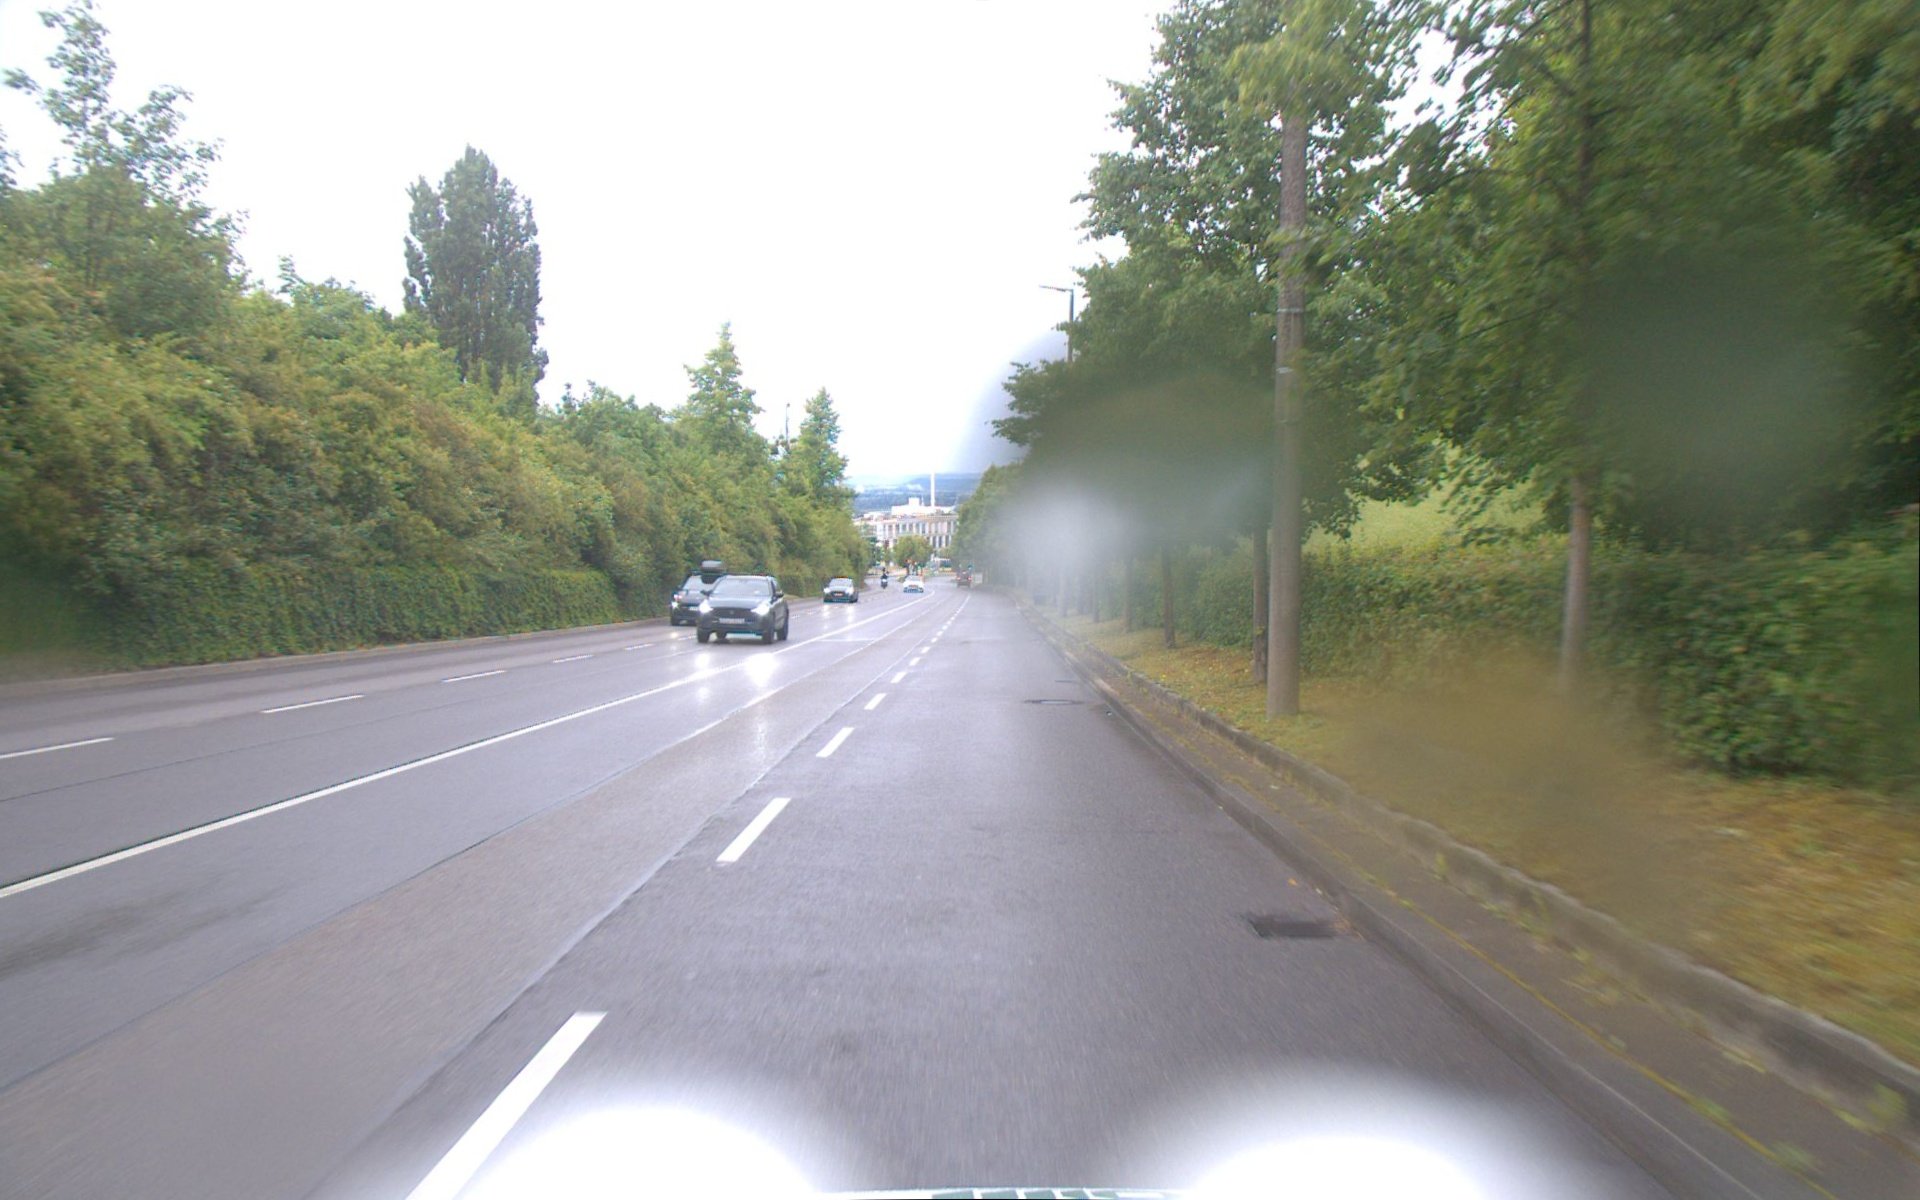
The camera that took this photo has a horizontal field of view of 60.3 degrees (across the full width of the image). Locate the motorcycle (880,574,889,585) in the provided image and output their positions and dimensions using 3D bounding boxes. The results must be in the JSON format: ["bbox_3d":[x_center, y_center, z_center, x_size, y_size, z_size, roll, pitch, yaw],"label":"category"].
[{"bbox_3d":[-7.974,-2.185,175.370,0.788,1.151,2.232,1,1,1],"label":"motorcycle"}]

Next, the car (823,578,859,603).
[{"bbox_3d":[-7.160,-0.584,99.805,1.723,1.405,4.839,2,1,1],"label":"car"}]

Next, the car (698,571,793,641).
[{"bbox_3d":[-5.458,0.128,42.555,1.775,1.686,4.595,1,1,0],"label":"car"}]

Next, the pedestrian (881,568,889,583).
[{"bbox_3d":[-7.968,-2.551,175.385,0.788,1.568,1.111,1,1,1],"label":"pedestrian"}]

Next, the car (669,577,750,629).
[{"bbox_3d":[-8.274,0.075,55.004,1.860,1.580,4.631,2,1,1],"label":"car"}]

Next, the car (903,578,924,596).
[{"bbox_3d":[-4.299,-1.225,152.797,1.679,1.531,4.517,2,1,1],"label":"car"}]

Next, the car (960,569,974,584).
[{"bbox_3d":[0.897,-2.942,210.303,1.811,1.731,3.793,2,0,0],"label":"car"}]
